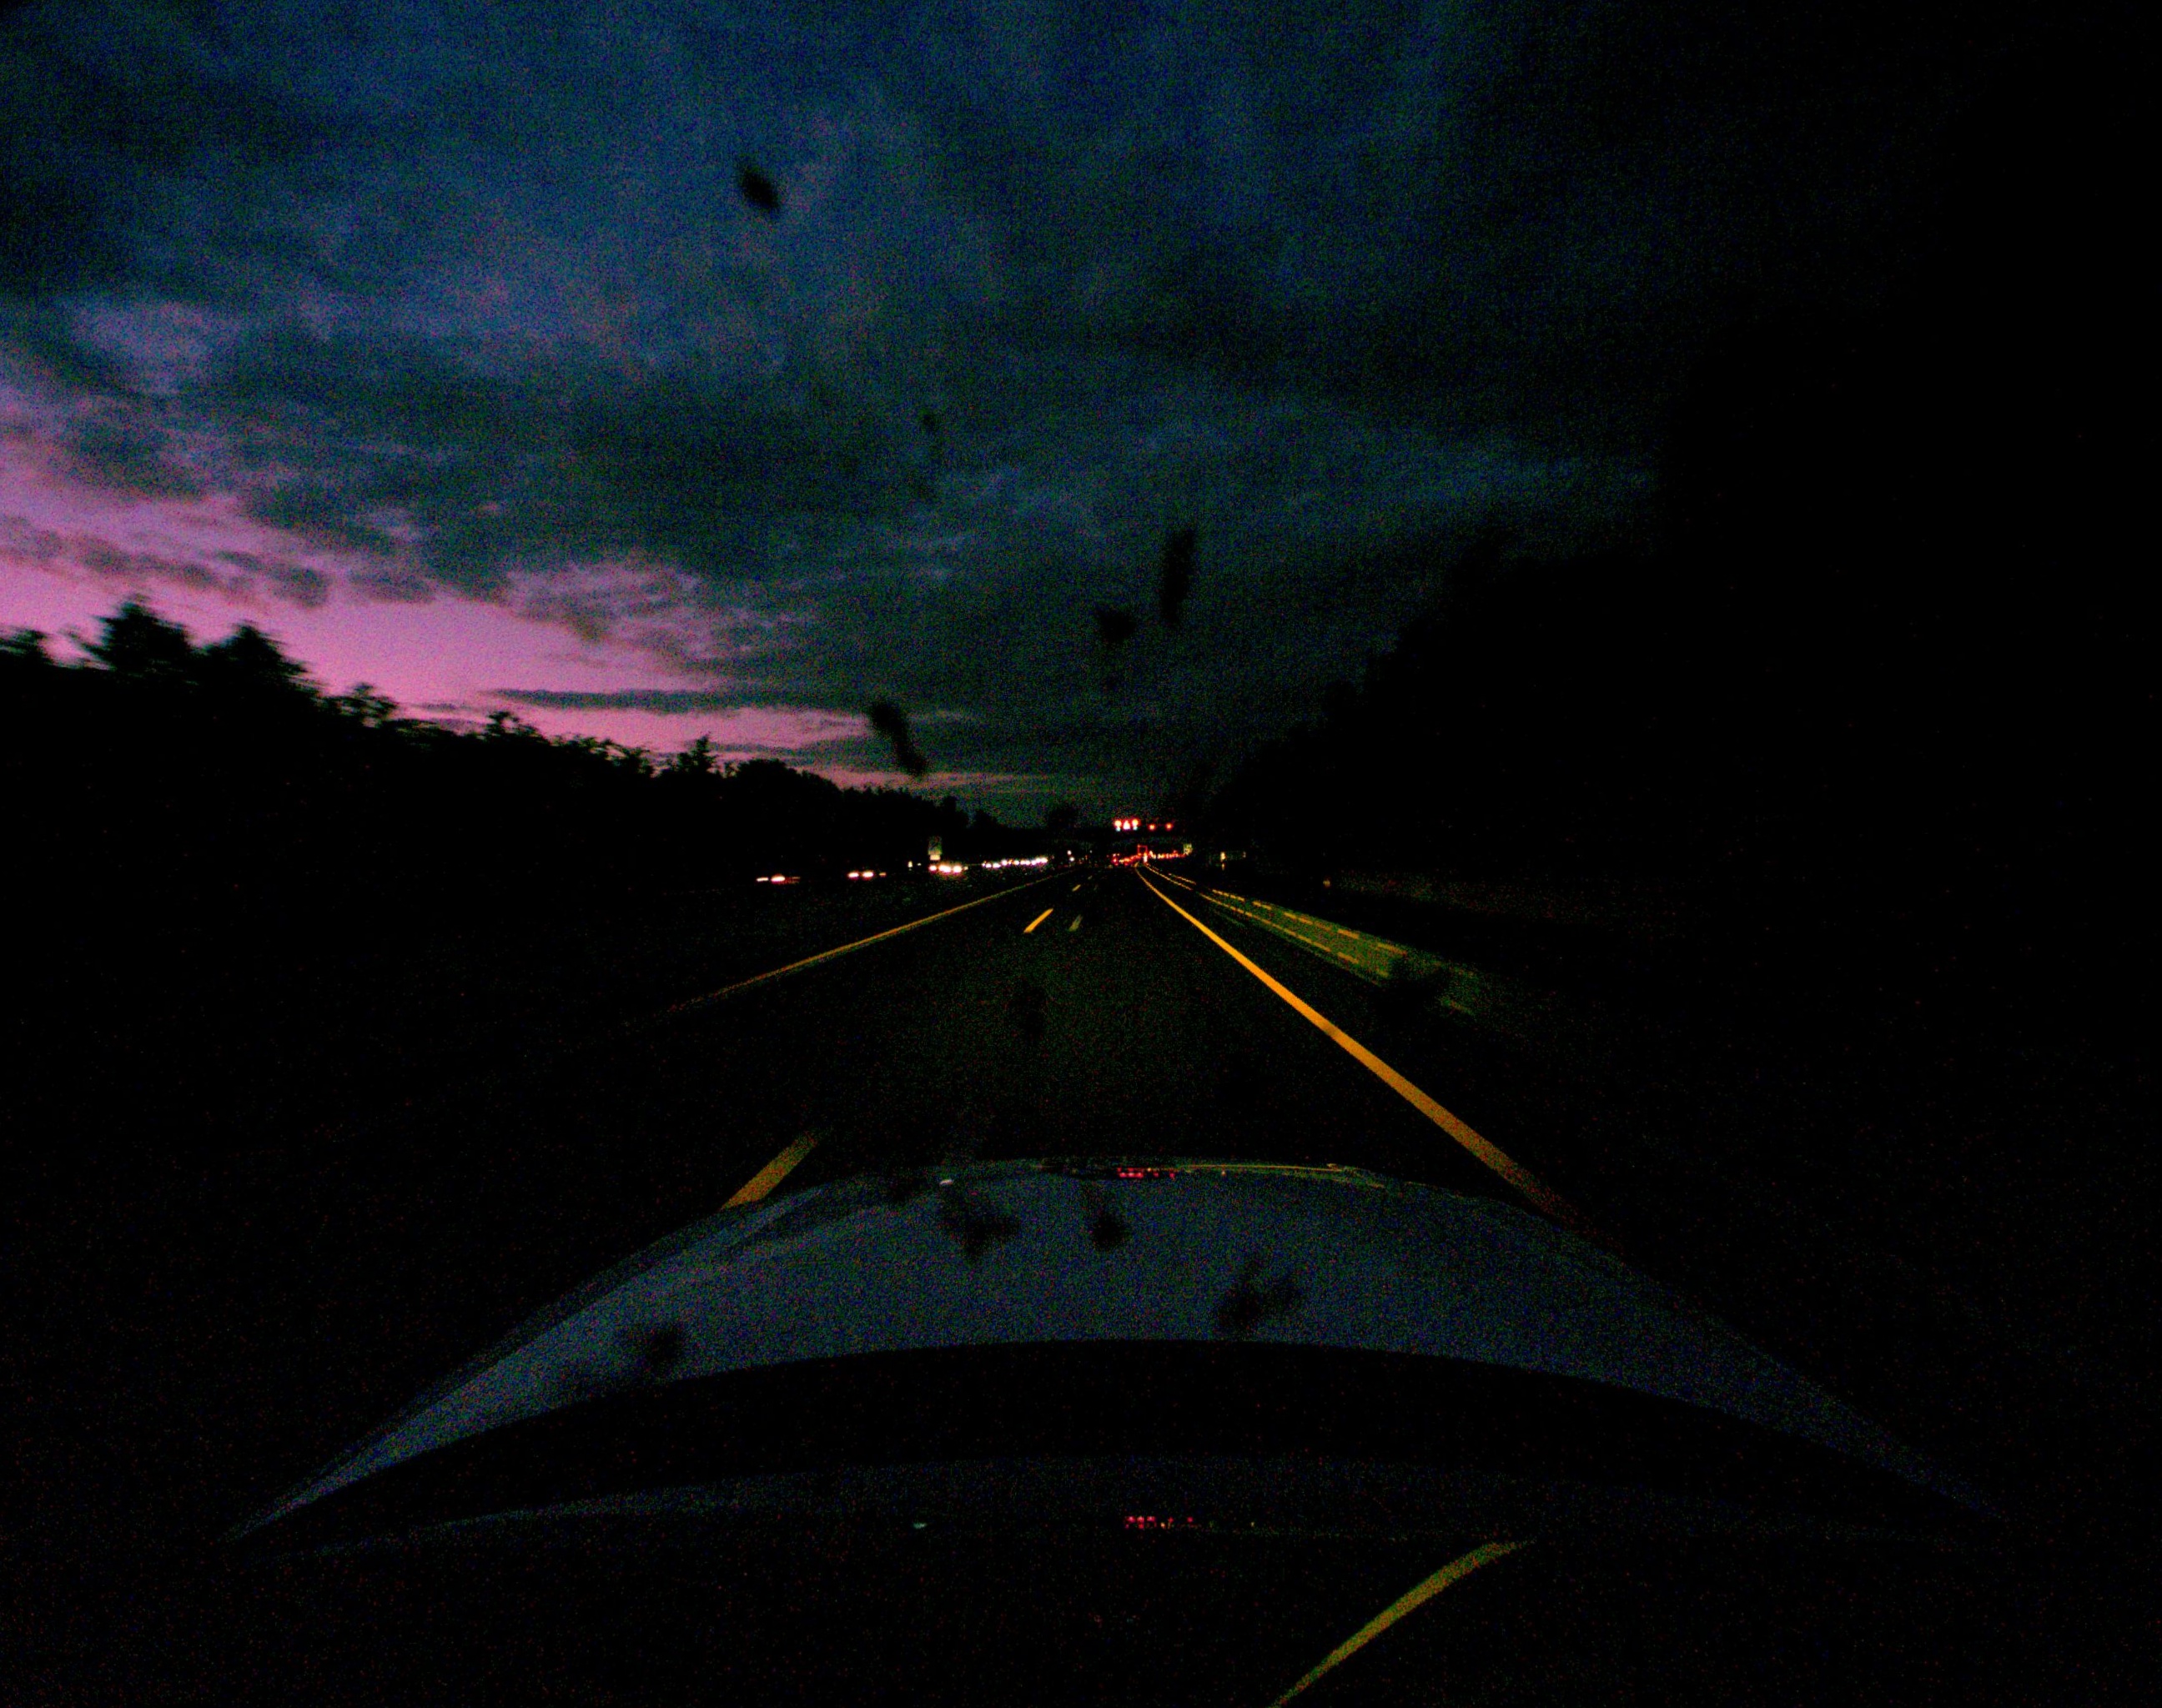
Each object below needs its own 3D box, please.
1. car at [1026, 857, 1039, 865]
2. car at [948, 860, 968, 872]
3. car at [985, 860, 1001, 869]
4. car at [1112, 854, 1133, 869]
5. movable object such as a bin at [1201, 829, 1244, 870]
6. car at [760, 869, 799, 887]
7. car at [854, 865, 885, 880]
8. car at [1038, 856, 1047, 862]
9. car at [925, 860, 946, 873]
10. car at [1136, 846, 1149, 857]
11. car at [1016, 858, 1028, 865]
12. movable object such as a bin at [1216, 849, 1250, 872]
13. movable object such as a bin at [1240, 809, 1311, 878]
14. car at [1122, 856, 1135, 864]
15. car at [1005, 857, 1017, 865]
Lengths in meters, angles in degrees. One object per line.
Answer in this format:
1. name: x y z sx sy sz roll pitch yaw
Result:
1. car: -9.955 1.443 167.304 1.892 1.738 4.814 0 0 5
2. car: -16.416 1.606 108.920 1.799 1.588 4.880 0 0 3
3. car: -14.495 1.680 133.733 1.742 1.454 4.676 0 0 5
4. car: 4.453 0.779 88.289 2.256 1.621 4.002 0 0 2
5. movable object such as a bin: 11.472 -0.336 66.296 2.610 3.108 5.809 -2 -1 2
6. car: -26.311 2.036 71.157 1.569 1.470 4.231 0 0 5
7. car: -21.628 1.872 83.484 1.665 1.470 4.653 0 0 5
8. car: -9.983 1.331 212.677 1.795 1.638 4.758 0 0 5
9. car: -19.702 1.624 110.620 1.743 1.722 4.673 0 0 3
10. car: 18.083 -0.697 240.044 3.589 3.396 8.023 0 0 4
11. car: -12.243 1.604 170.188 1.802 1.485 4.707 0 0 5
12. movable object such as a bin: 11.386 0.500 61.325 1.985 1.601 4.088 -3 -1 3
13. movable object such as a bin: 10.237 -0.512 43.353 2.554 3.318 5.582 -3 -1 2
14. car: 8.748 1.104 149.030 1.961 1.437 4.009 0 0 8
15. car: -14.949 1.495 173.968 1.817 1.485 4.707 0 0 5
